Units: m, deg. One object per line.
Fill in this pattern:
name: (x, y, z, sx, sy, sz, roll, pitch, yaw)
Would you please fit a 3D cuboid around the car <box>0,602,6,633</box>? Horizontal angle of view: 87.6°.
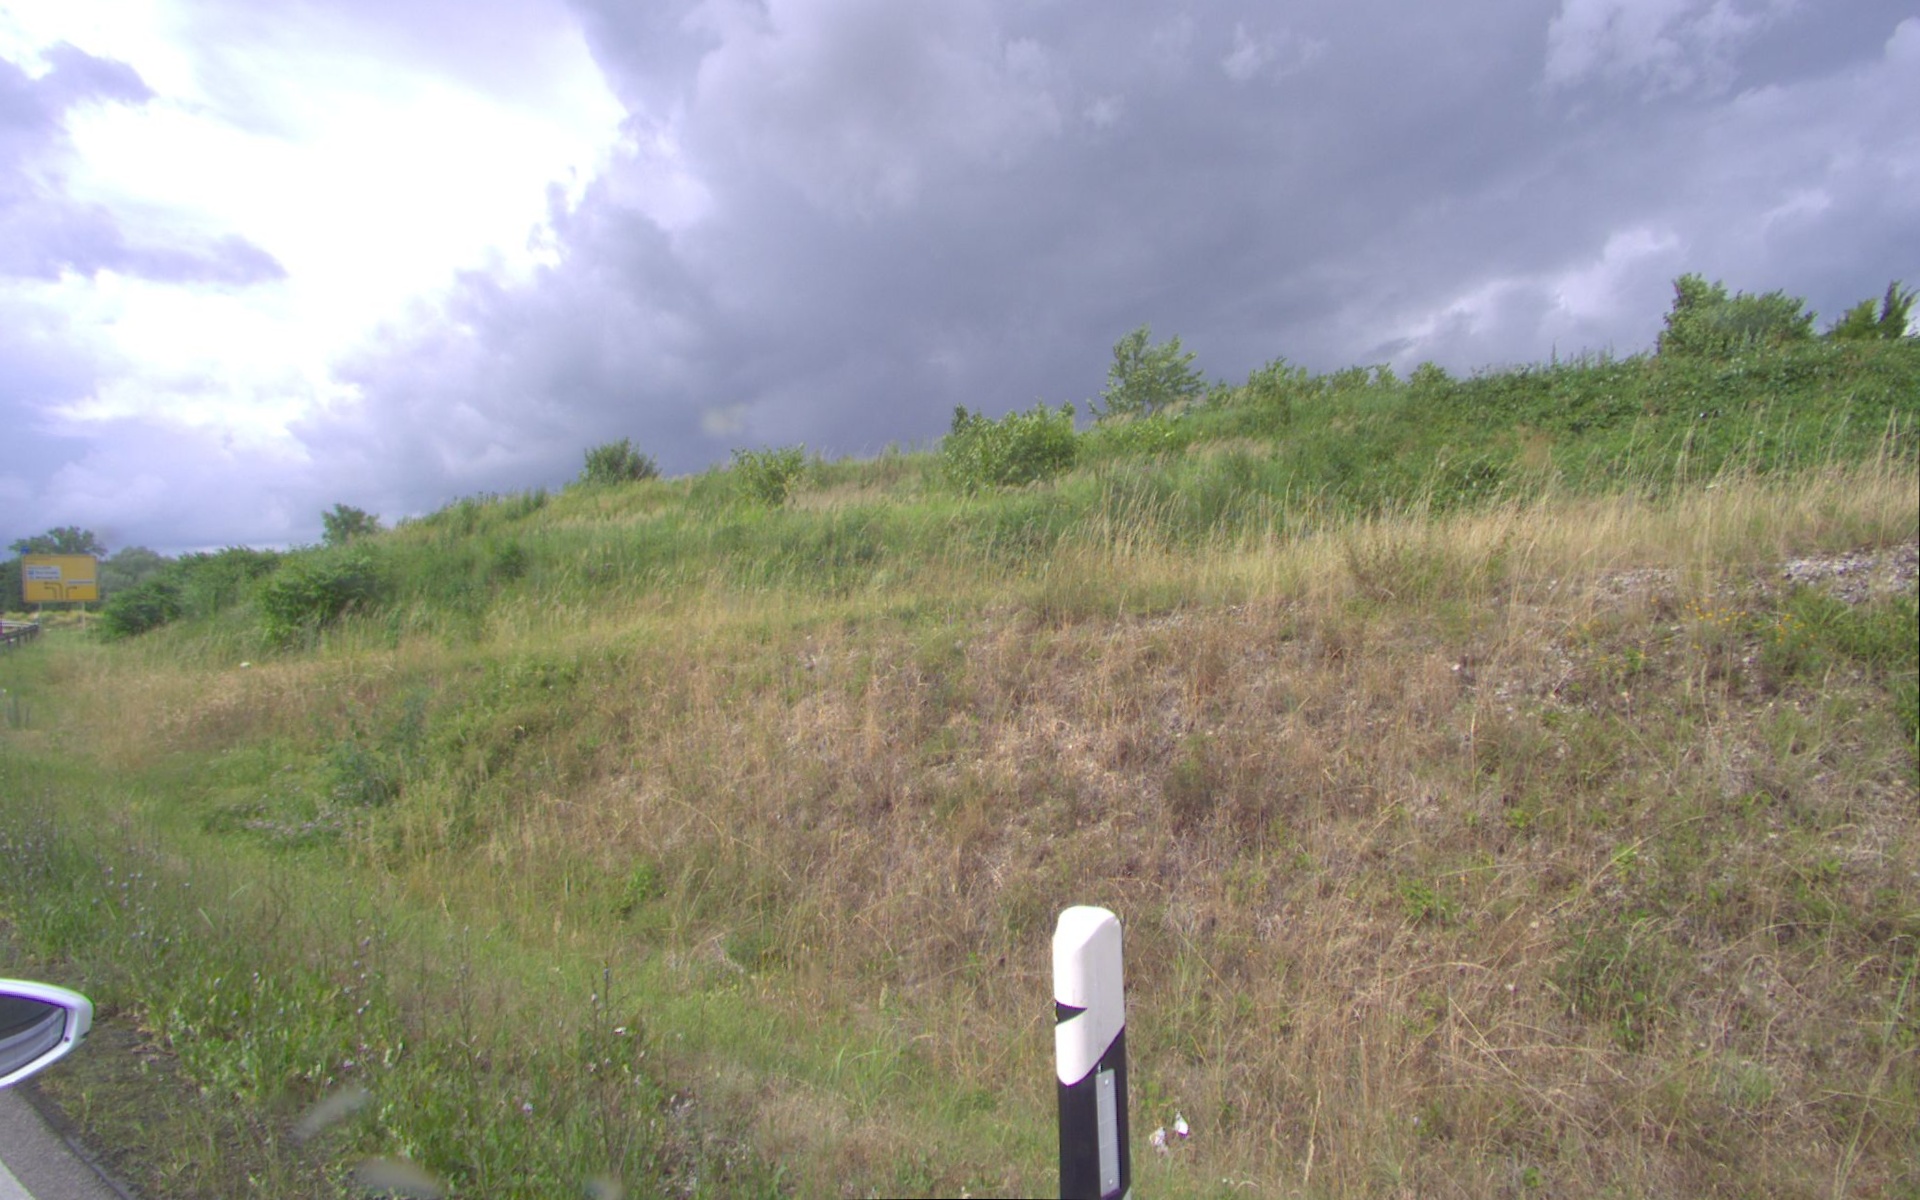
car: (-61.639, 1.095, 63.055, 4.448, 1.906, 2.083, -2, -2, 44)
